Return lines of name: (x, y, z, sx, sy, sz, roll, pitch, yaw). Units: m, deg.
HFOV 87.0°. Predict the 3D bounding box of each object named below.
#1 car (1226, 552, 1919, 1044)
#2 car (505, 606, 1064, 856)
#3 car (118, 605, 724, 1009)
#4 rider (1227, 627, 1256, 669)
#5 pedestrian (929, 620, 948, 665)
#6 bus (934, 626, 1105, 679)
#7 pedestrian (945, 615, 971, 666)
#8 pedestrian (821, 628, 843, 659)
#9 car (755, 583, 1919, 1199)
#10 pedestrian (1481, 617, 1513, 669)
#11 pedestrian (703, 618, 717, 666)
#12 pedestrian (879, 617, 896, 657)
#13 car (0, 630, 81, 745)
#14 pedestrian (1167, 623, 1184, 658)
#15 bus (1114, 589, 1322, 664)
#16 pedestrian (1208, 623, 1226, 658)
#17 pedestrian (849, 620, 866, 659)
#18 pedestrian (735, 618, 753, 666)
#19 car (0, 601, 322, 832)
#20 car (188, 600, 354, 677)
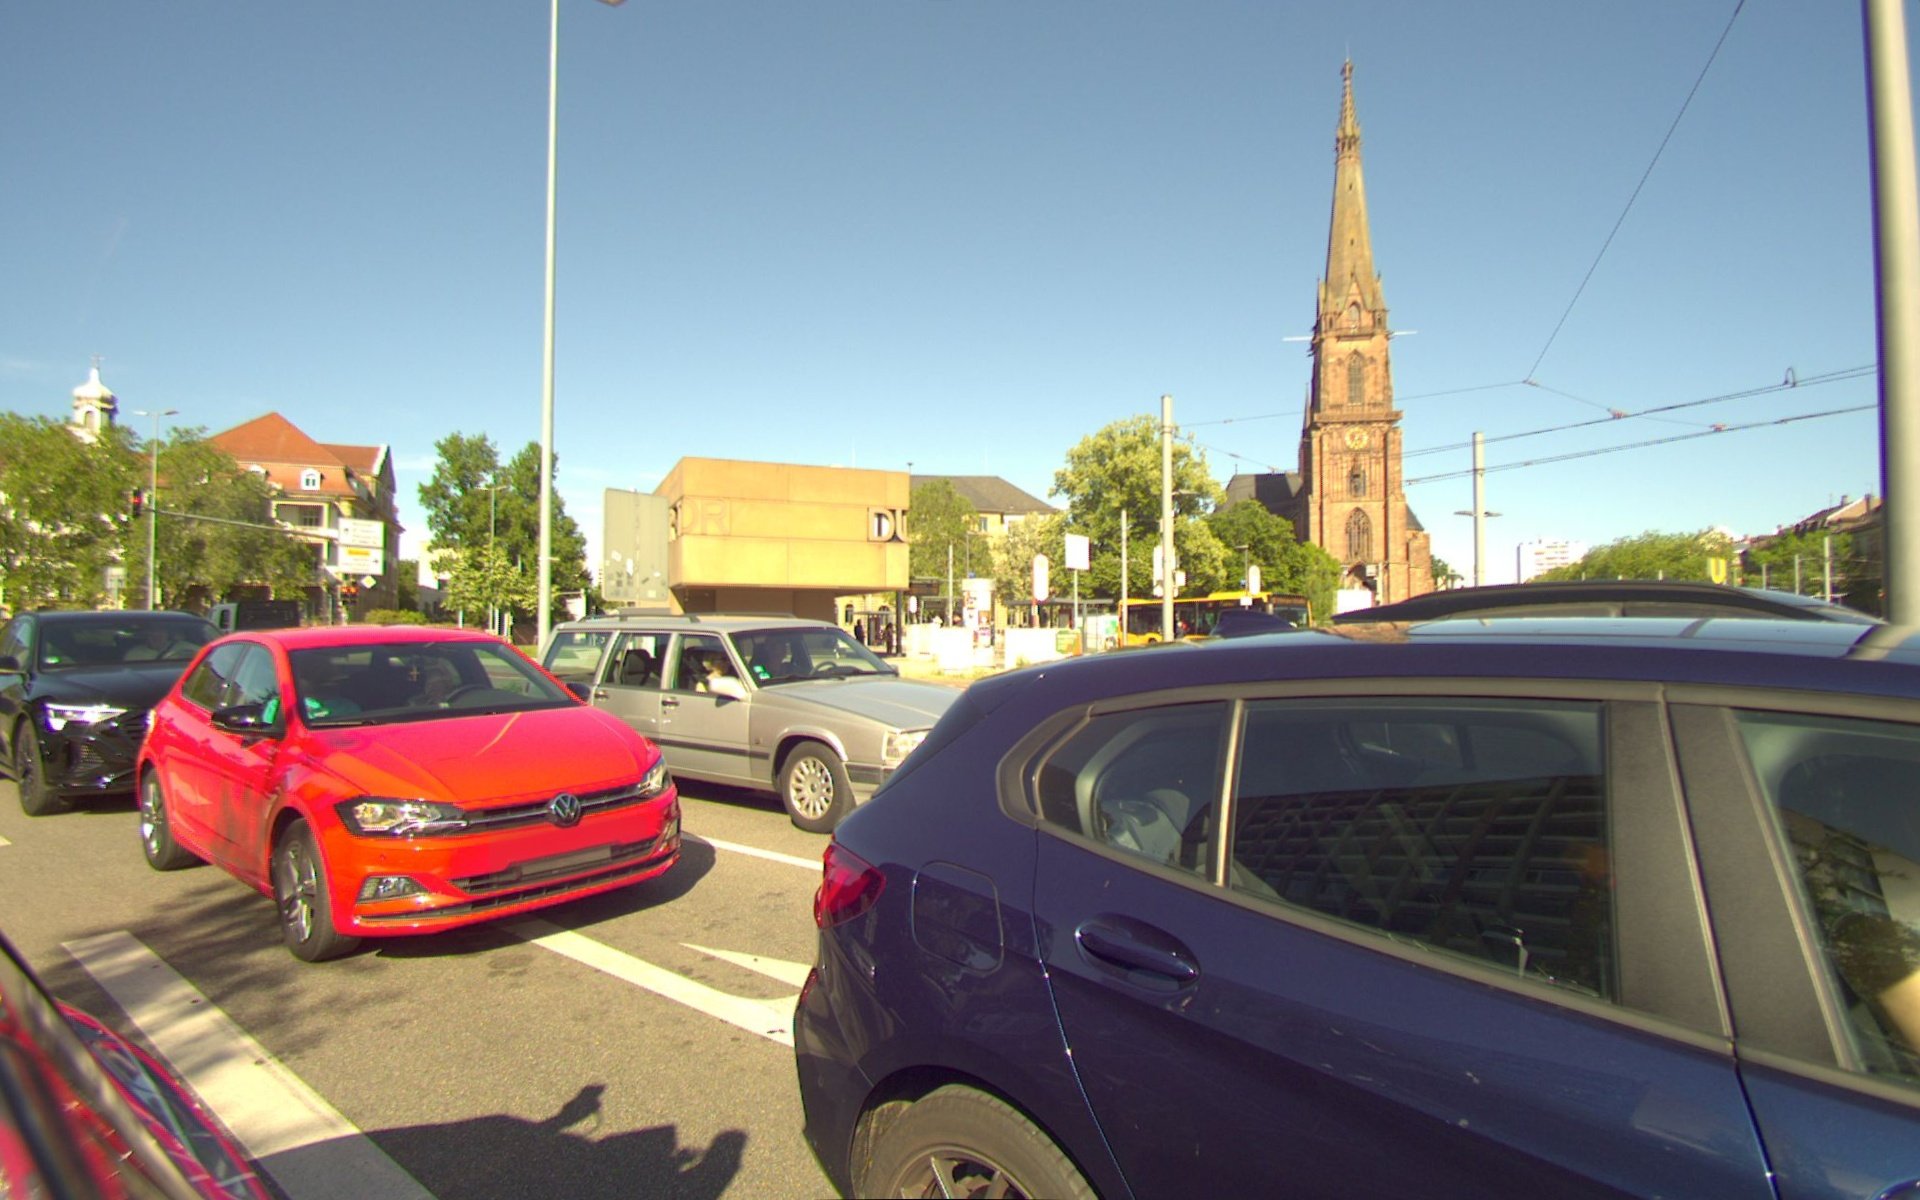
car: (3.313, 0.629, 4.038, 4.010, 1.529, 1.738, -2, -2, 44)
car: (-1.629, 0.834, 8.170, 4.744, 1.484, 1.693, -1, -2, 38)
car: (-3.182, 0.812, 5.634, 3.850, 1.484, 1.653, -2, -1, 40)
rider: (10.044, 1.696, 36.110, 0.856, 1.475, 0.664, -1, -2, 26)
pedestrian: (-0.875, 1.702, 40.886, 0.634, 1.789, 0.470, 1, -2, -29)
bus: (1.483, 1.315, 26.049, 4.174, 1.251, 1.627, -1, -2, 35)
pedestrian: (-0.065, 1.443, 36.387, 0.667, 1.802, 0.637, -1, -1, 42)
pedestrian: (-5.458, 1.837, 43.052, 0.635, 1.320, 0.764, 1, -2, -40)
car: (1.657, 0.703, 1.310, 4.030, 1.456, 1.692, -1, -1, 42)
pedestrian: (19.646, 1.560, 37.031, 0.882, 1.869, 0.679, -2, -3, 41)
pedestrian: (-9.534, 1.596, 38.579, 0.460, 1.789, 0.648, 0, -2, -21)
pedestrian: (-3.227, 1.637, 45.128, 0.468, 1.789, 0.638, -2, -2, 36)
car: (-13.597, 1.161, 13.830, 3.704, 1.429, 1.557, -2, -1, 35)
pedestrian: (9.694, 1.817, 45.580, 0.561, 1.525, 0.529, -1, -1, -16)
bus: (11.717, 1.316, 48.044, 2.715, 3.088, 12.201, 1, -2, -23)
pedestrian: (11.272, 1.780, 44.371, 0.552, 1.525, 0.530, -1, -1, -29)
pedestrian: (-4.681, 1.803, 46.407, 0.468, 1.789, 0.638, -2, -2, 36)
pedestrian: (-8.165, 1.573, 38.306, 0.635, 1.789, 0.618, 0, -2, -8)
car: (-7.757, 0.889, 9.256, 4.446, 1.628, 1.836, -2, -2, 38)
car: (-22.605, 1.242, 33.130, 6.191, 2.331, 2.095, -1, -2, 31)
